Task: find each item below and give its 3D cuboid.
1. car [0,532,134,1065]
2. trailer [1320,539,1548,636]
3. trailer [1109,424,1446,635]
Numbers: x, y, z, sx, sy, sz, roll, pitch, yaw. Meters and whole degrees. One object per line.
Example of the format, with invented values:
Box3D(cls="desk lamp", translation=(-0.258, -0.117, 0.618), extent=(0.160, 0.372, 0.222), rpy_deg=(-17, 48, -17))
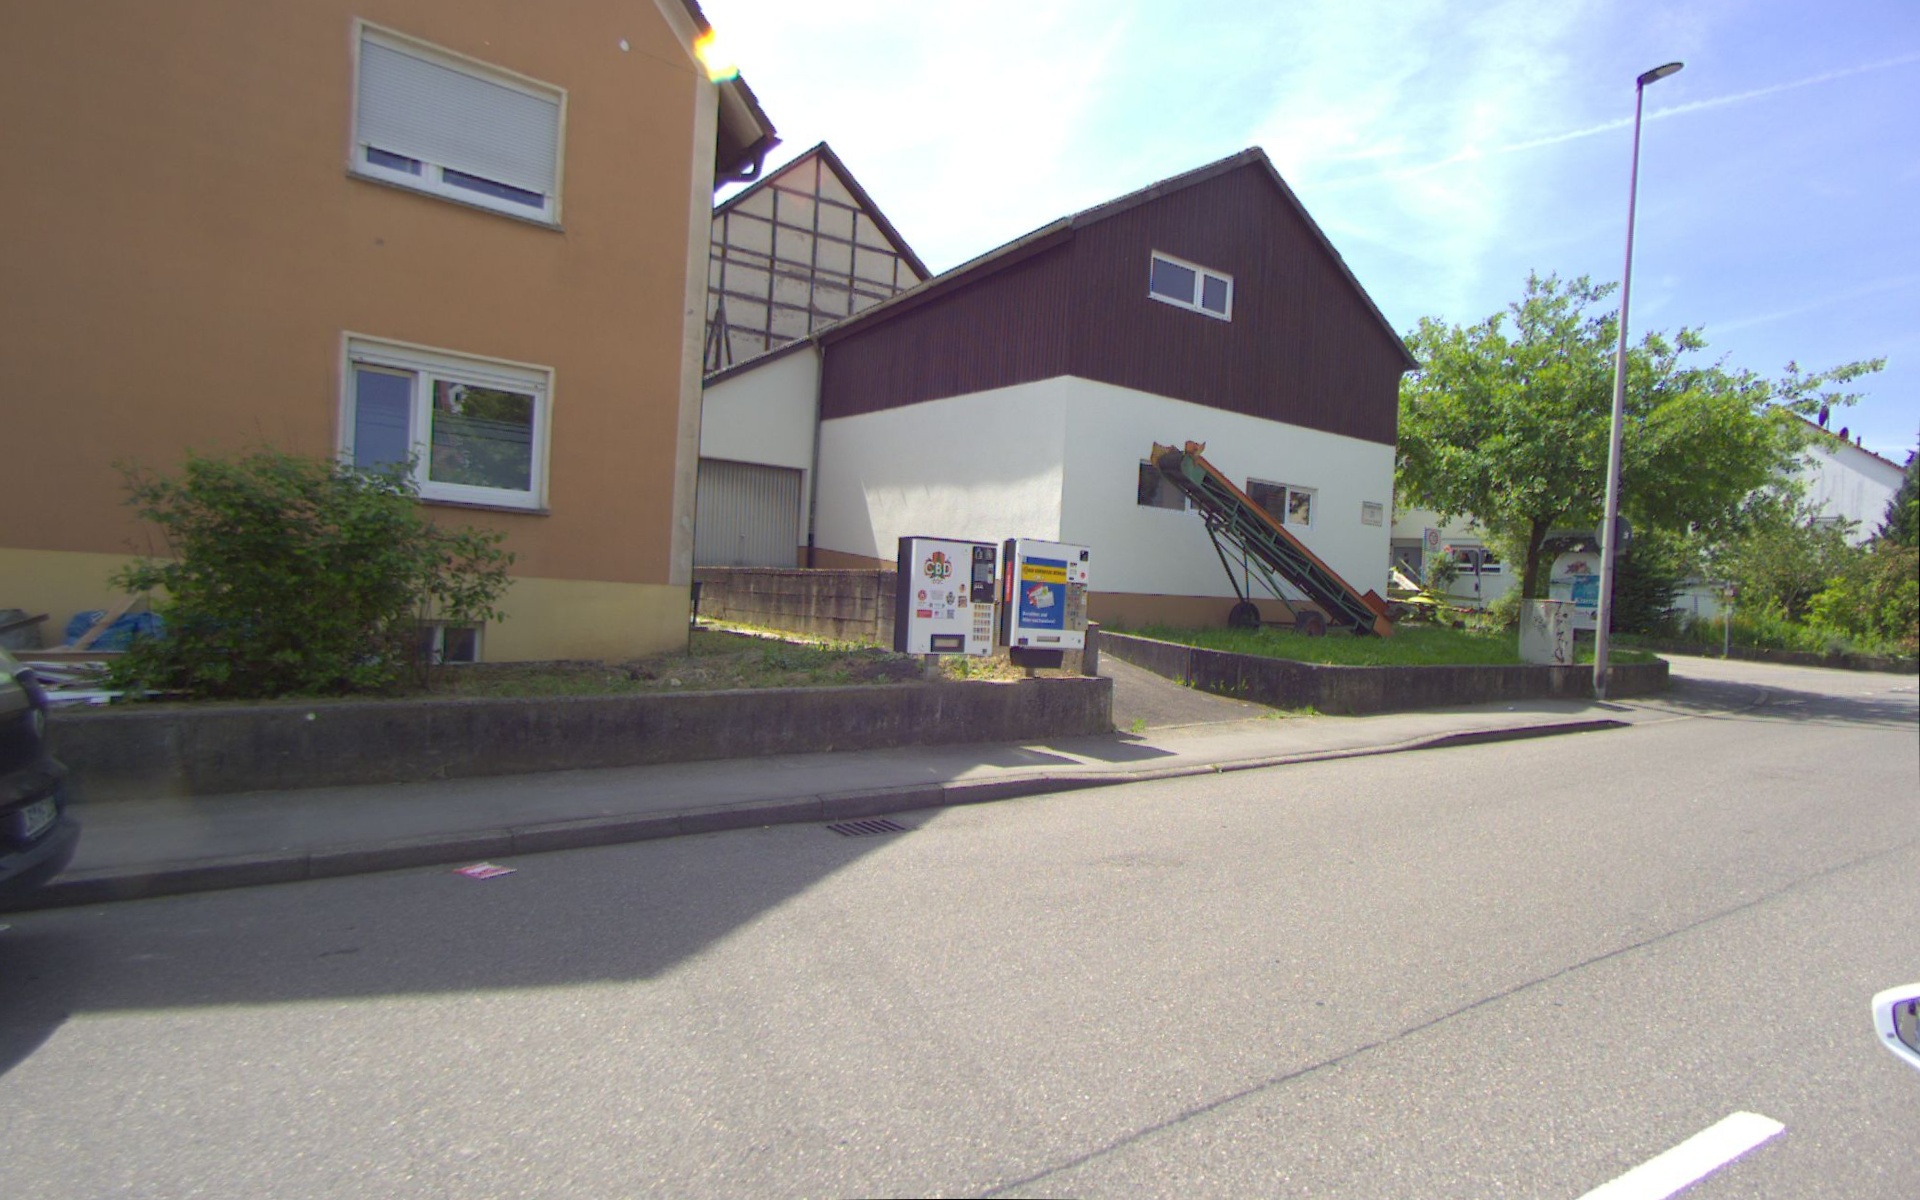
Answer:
Box3D(cls="car", translation=(-5.147, 0.583, 2.751), extent=(4.241, 1.658, 1.758), rpy_deg=(1, 0, -33))
Box3D(cls="trailer", translation=(9.706, -0.316, 20.985), extent=(2.713, 1.714, 3.703), rpy_deg=(3, 3, -6))
Box3D(cls="trailer", translation=(5.290, -0.938, 16.215), extent=(6.110, 2.887, 1.701), rpy_deg=(1, 1, -34))
